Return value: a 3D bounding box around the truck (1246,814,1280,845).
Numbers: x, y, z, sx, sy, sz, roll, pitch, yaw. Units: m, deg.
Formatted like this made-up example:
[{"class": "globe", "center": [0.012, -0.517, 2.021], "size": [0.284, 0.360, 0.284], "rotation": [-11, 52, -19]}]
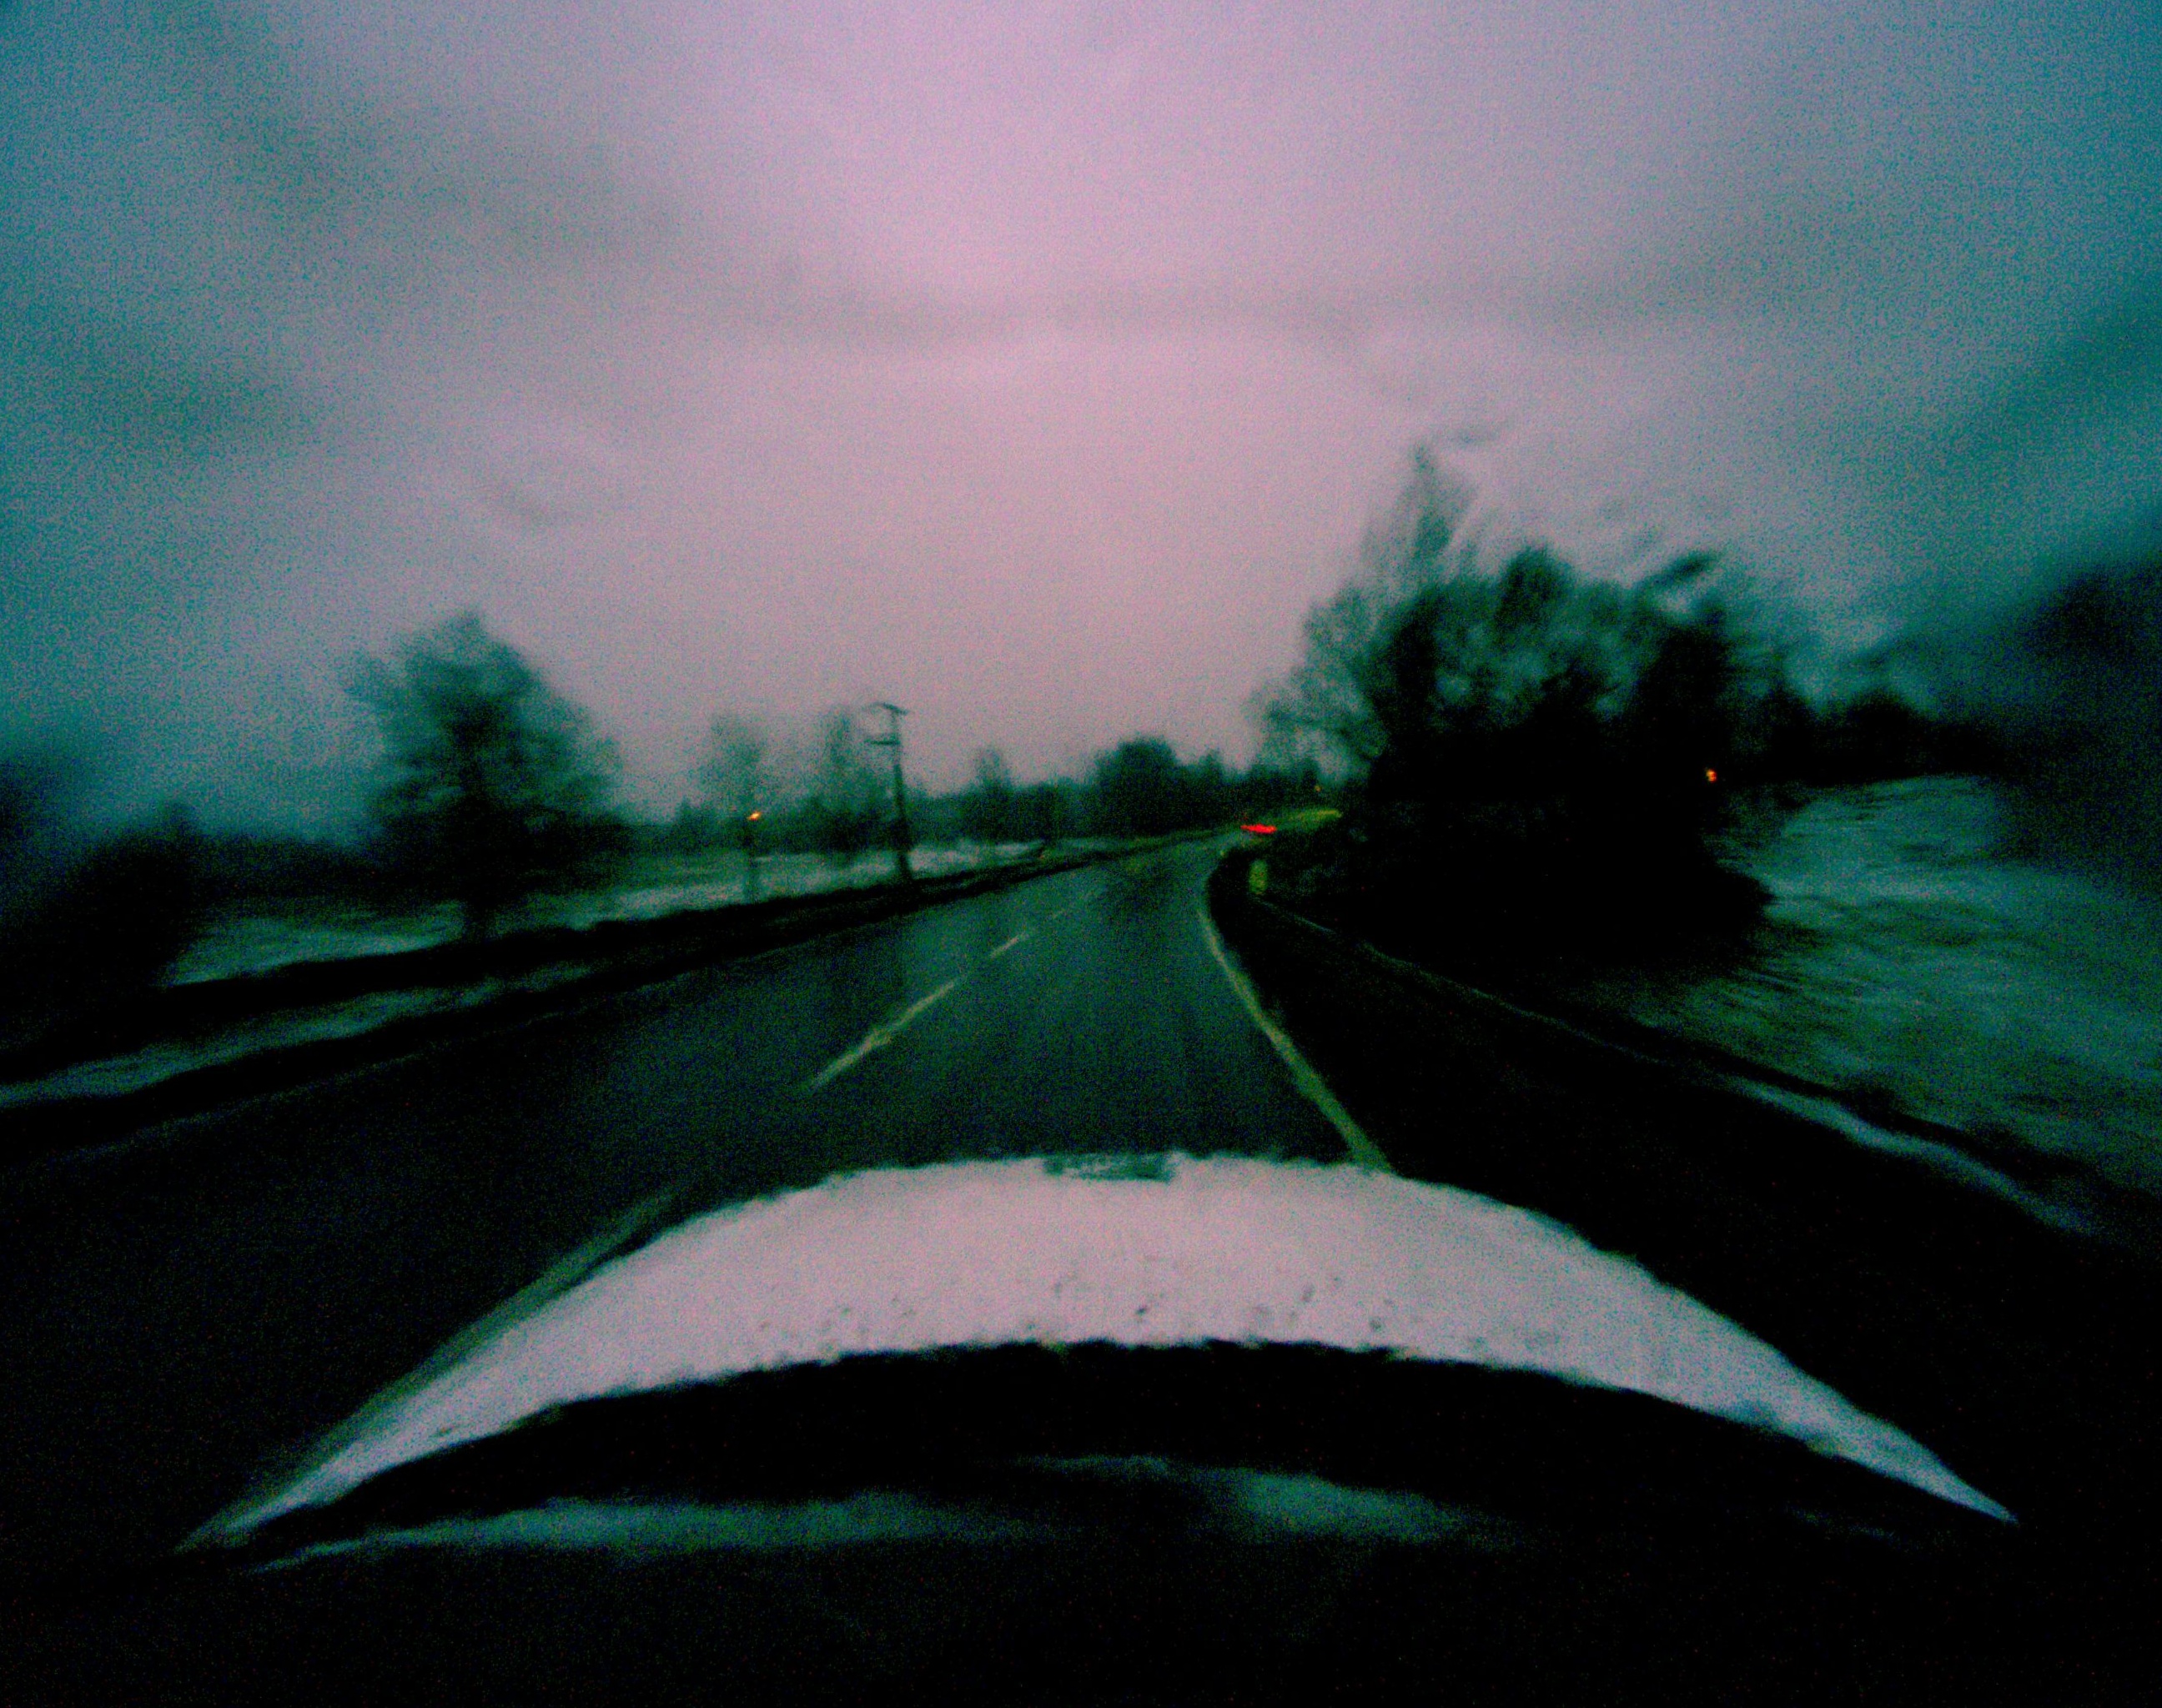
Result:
[{"class": "truck", "center": [18.669, -2.556, 83.349], "size": [2.510, 2.868, 5.954], "rotation": [-2, 3, 20]}]
